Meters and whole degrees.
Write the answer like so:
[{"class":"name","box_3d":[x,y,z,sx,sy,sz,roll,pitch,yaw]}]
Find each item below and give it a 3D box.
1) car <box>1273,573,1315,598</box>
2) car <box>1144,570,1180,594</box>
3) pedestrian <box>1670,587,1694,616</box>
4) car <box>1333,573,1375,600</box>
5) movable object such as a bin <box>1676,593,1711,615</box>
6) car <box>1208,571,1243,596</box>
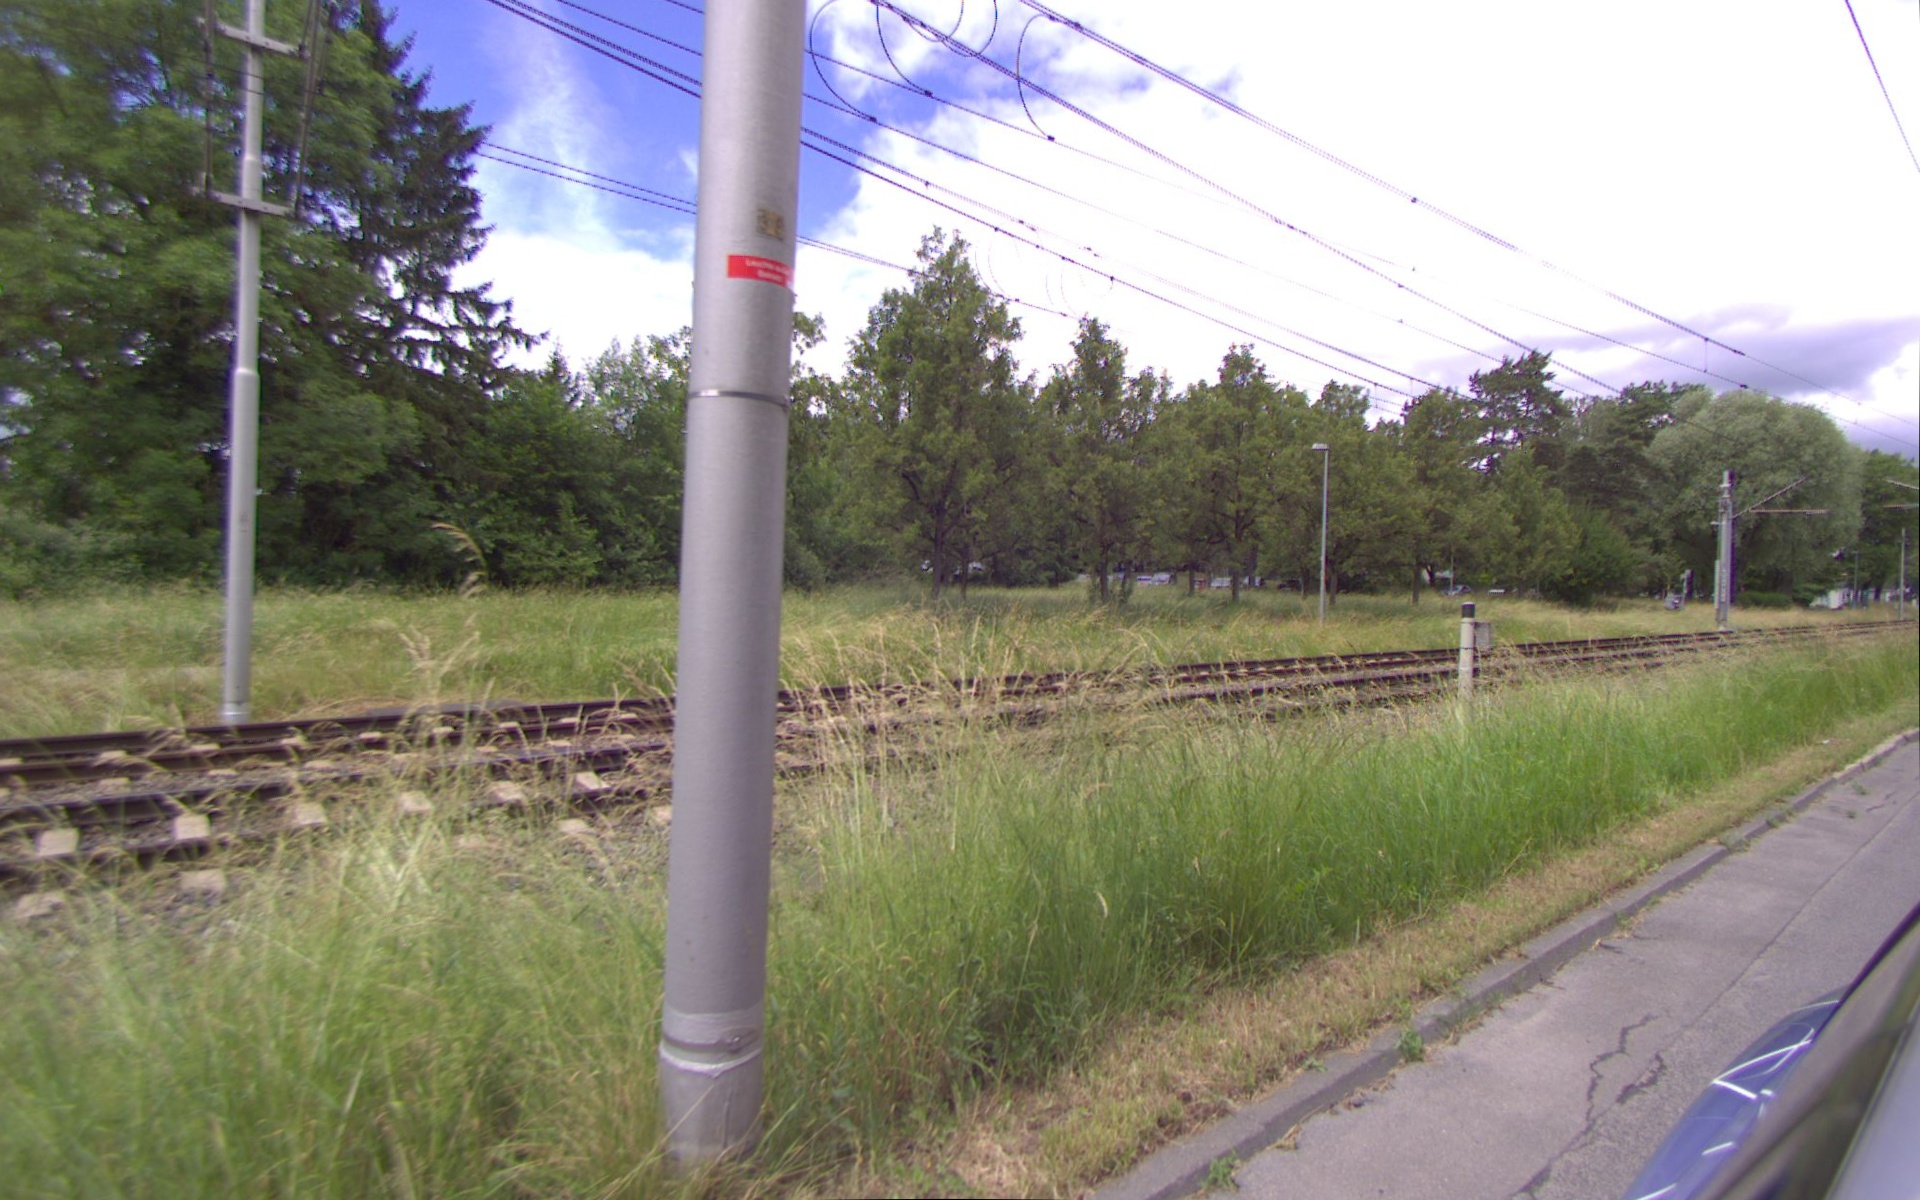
[{"class":"car","box_3d":[24.834,-1.074,75.142,1.740,1.826,3.946,1,1,37]},{"class":"car","box_3d":[16.221,-1.437,81.123,1.979,1.835,3.967,1,1,24]},{"class":"pedestrian","box_3d":[43.806,0.082,61.441,0.940,1.687,0.658,1,1,1]},{"class":"car","box_3d":[27.904,-0.935,71.609,1.740,1.826,3.946,1,1,37]},{"class":"movable object such as a bin","box_3d":[44.551,0.248,61.453,1.612,1.326,0.660,1,1,1]},{"class":"car","box_3d":[20.704,-1.275,78.781,1.979,1.835,3.967,1,1,24]}]
